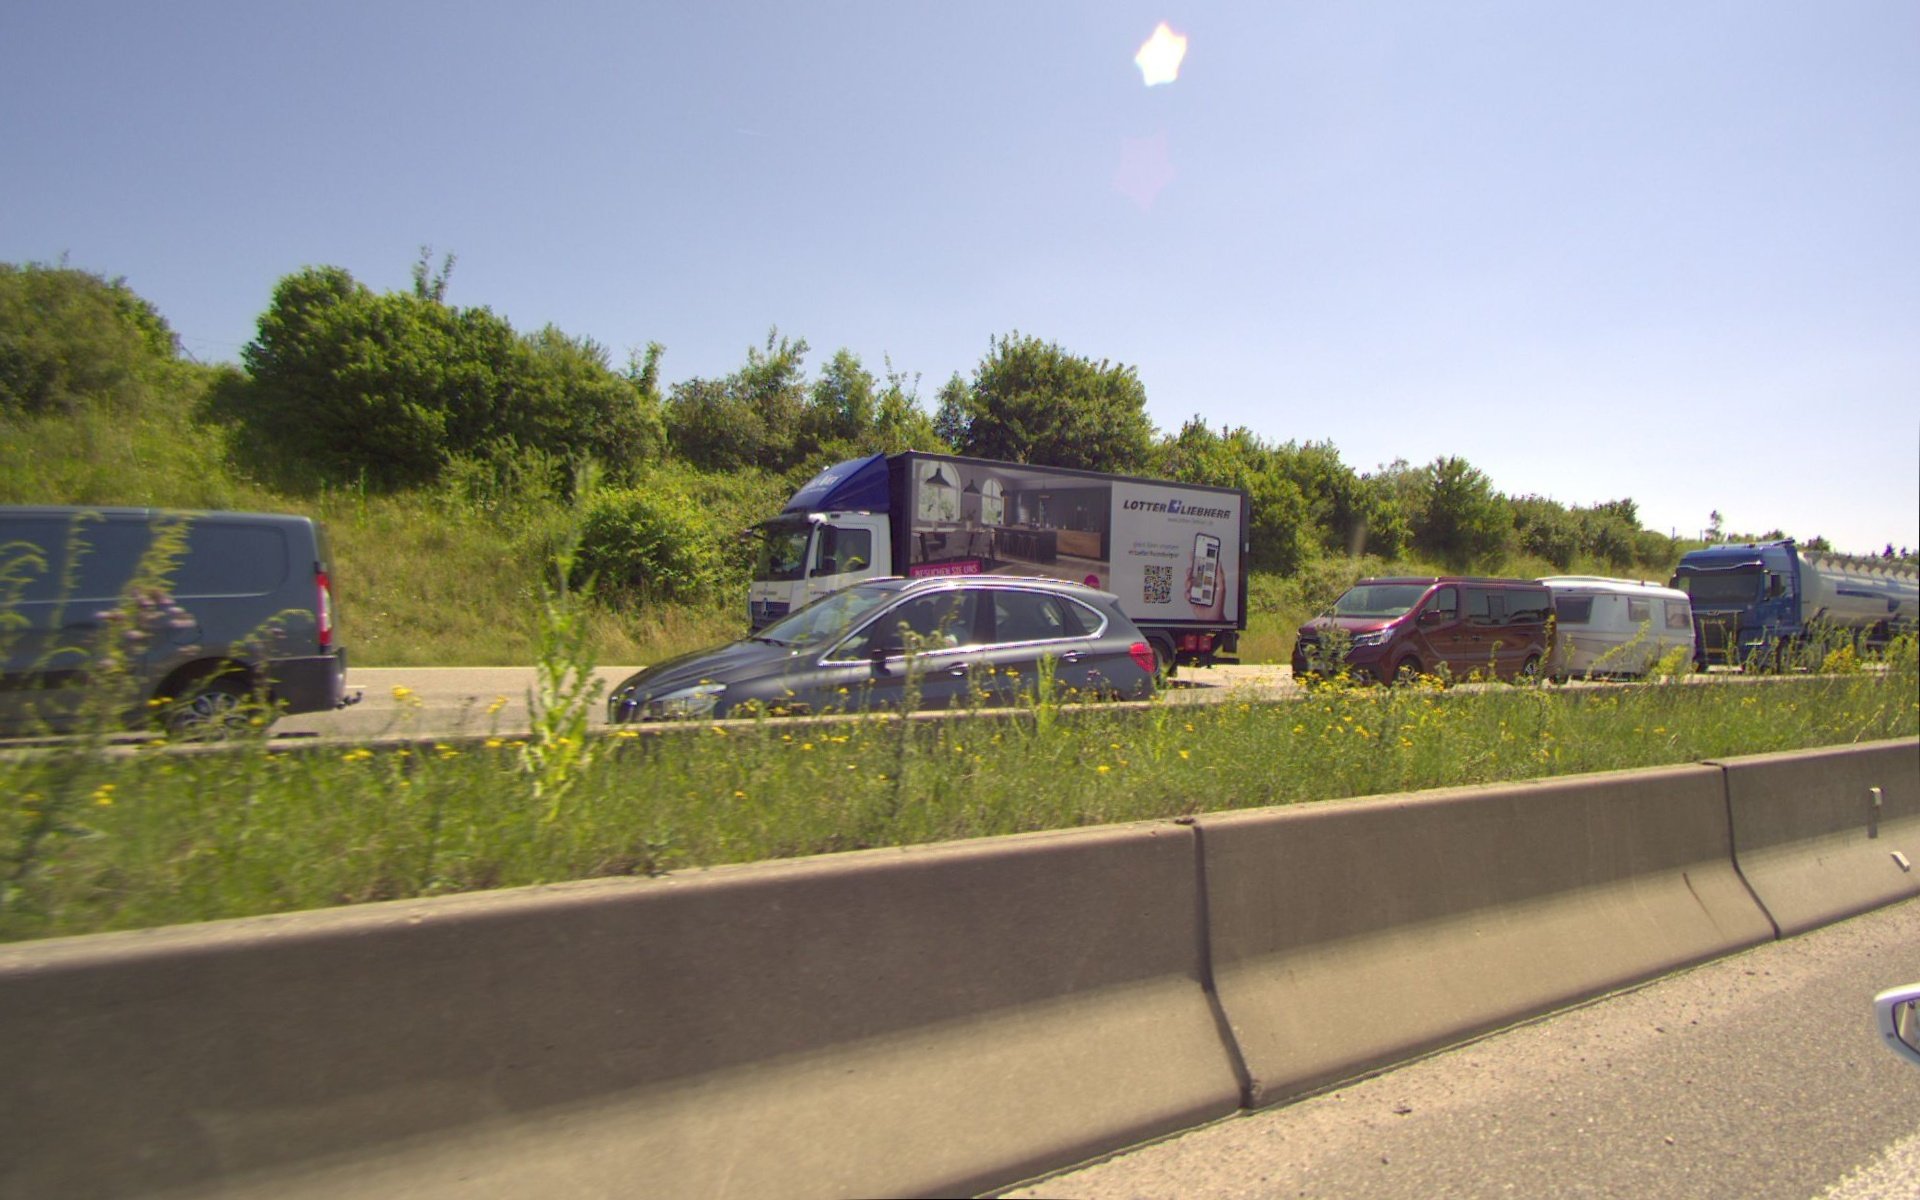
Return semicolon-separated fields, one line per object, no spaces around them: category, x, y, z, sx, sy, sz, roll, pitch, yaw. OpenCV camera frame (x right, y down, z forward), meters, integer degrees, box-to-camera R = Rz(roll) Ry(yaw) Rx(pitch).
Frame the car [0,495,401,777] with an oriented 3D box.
car;-7.304;0.240;7.894;5.035;1.984;2.014;2;0;-30

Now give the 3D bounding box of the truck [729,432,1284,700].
truck;1.188;-0.340;17.531;9.820;3.723;2.533;2;0;-30

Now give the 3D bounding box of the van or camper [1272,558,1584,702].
van or camper;8.258;0.551;17.508;5.886;2.181;1.984;2;-2;-31

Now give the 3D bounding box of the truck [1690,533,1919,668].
truck;30.894;0.104;35.449;12.431;4.148;3.561;1;0;-30

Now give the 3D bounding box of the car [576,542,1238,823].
car;-0.258;0.531;7.717;4.797;1.605;1.746;2;0;-30

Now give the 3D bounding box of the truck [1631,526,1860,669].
truck;25.050;-0.029;32.019;6.566;4.091;3.473;2;1;-30

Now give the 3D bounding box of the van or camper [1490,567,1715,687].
van or camper;13.083;0.570;20.378;4.663;2.181;1.984;2;-2;-31
